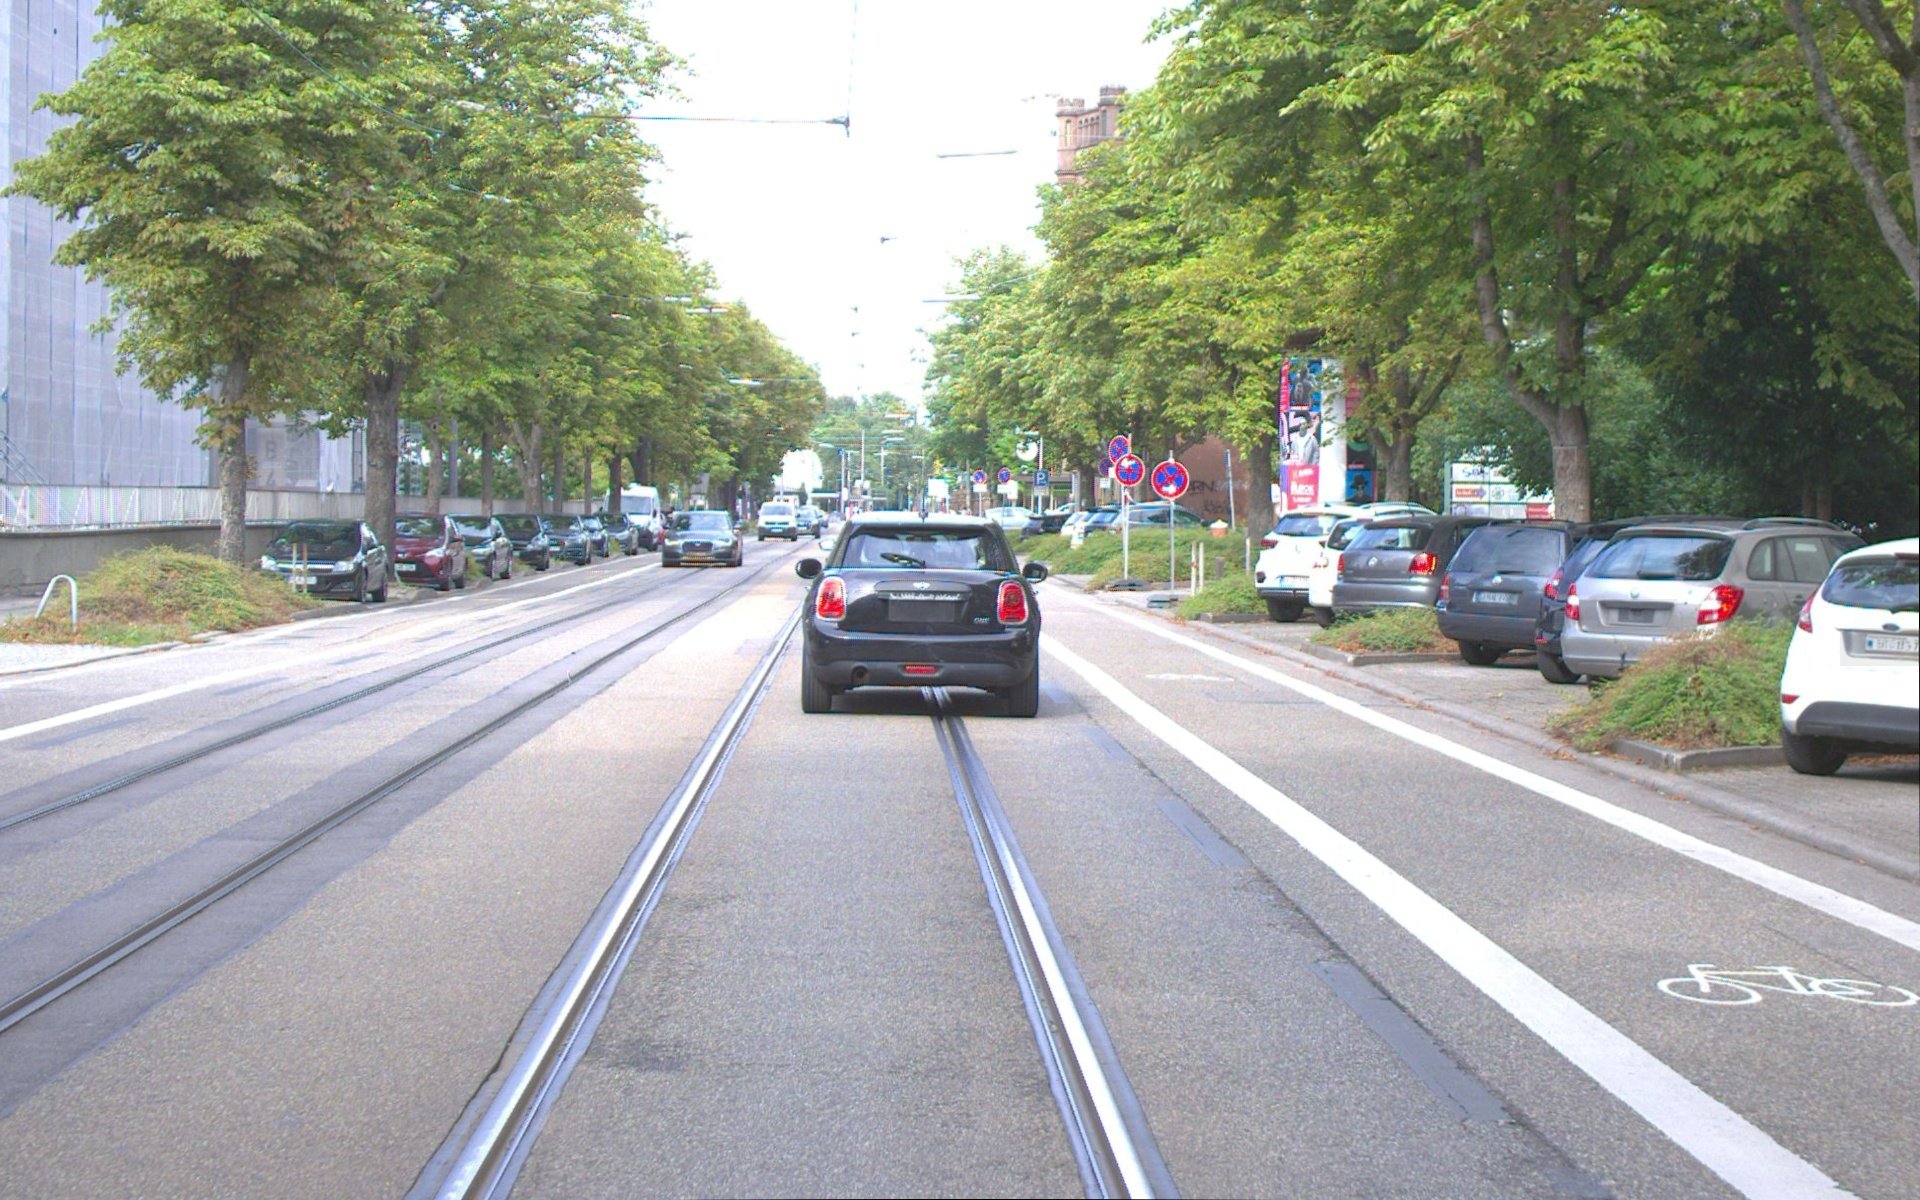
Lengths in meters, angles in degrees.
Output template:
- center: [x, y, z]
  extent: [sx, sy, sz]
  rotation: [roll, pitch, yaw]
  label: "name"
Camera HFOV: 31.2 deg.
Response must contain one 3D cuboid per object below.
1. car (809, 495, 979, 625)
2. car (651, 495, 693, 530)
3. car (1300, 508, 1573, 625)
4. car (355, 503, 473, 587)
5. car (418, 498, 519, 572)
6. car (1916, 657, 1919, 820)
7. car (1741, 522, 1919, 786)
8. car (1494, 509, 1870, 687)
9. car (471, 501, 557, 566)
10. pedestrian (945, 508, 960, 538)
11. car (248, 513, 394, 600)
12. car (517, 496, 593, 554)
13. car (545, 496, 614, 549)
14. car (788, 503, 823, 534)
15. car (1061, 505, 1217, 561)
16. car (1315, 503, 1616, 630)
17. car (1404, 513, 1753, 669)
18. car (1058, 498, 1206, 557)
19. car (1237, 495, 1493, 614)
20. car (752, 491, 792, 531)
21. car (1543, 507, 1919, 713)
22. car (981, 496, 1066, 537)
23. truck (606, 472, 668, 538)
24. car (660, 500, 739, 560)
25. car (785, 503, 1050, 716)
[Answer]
- center: [-0.865, -0.534, 42.626]
  extent: [1.793, 1.465, 4.001]
  rotation: [2, 2, -5]
  label: "car"
- center: [-13.556, -4.124, 161.913]
  extent: [1.802, 1.578, 4.032]
  rotation: [0, 1, -2]
  label: "car"
- center: [6.146, -0.440, 44.226]
  extent: [3.437, 1.437, 1.560]
  rotation: [0, 2, -40]
  label: "car"
- center: [-10.669, -1.105, 67.414]
  extent: [1.802, 1.578, 4.032]
  rotation: [0, 1, -2]
  label: "car"
- center: [-10.865, -1.459, 76.278]
  extent: [1.802, 1.578, 4.032]
  rotation: [0, 1, -2]
  label: "car"
- center: [6.687, 0.389, 18.057]
  extent: [1.676, 1.455, 3.819]
  rotation: [2, 2, 42]
  label: "car"
- center: [6.424, 0.294, 20.816]
  extent: [1.639, 1.455, 3.819]
  rotation: [2, 2, 42]
  label: "car"
- center: [6.685, -0.038, 31.623]
  extent: [1.639, 1.517, 3.730]
  rotation: [2, 2, 44]
  label: "car"
- center: [-11.249, -1.695, 86.934]
  extent: [1.802, 1.578, 4.032]
  rotation: [0, 1, -2]
  label: "car"
- center: [-0.419, -4.301, 191.712]
  extent: [0.726, 1.640, 0.766]
  rotation: [2, 2, 9]
  label: "pedestrian"
- center: [-10.549, -0.749, 56.987]
  extent: [1.802, 1.369, 4.032]
  rotation: [0, 2, -2]
  label: "car"
- center: [-11.403, -2.130, 97.010]
  extent: [1.802, 1.578, 4.032]
  rotation: [0, 1, -2]
  label: "car"
- center: [-11.676, -2.400, 105.681]
  extent: [1.802, 1.578, 4.032]
  rotation: [0, 1, -2]
  label: "car"
- center: [-8.180, -4.321, 181.823]
  extent: [1.802, 1.616, 4.485]
  rotation: [0, 2, -2]
  label: "car"
- center: [4.818, -1.817, 92.942]
  extent: [3.986, 1.420, 1.885]
  rotation: [1, 2, -4]
  label: "car"
- center: [6.082, -0.415, 41.193]
  extent: [3.525, 1.437, 1.623]
  rotation: [0, 2, -40]
  label: "car"
- center: [6.239, -0.106, 34.459]
  extent: [1.639, 1.453, 3.730]
  rotation: [2, 2, 44]
  label: "car"
- center: [4.901, -2.083, 98.345]
  extent: [3.986, 1.622, 1.885]
  rotation: [1, 2, -4]
  label: "car"
- center: [5.594, -0.633, 47.339]
  extent: [3.437, 1.567, 1.560]
  rotation: [0, 2, -40]
  label: "car"
- center: [-8.864, -4.195, 162.236]
  extent: [1.802, 1.817, 4.485]
  rotation: [0, 1, -2]
  label: "car"
- center: [6.436, 0.052, 27.587]
  extent: [1.639, 1.517, 3.730]
  rotation: [2, 2, 44]
  label: "car"
- center: [3.154, -4.134, 170.122]
  extent: [3.986, 1.904, 2.000]
  rotation: [1, 2, -4]
  label: "car"
- center: [-12.252, -3.601, 130.671]
  extent: [2.070, 2.462, 4.900]
  rotation: [0, 1, -2]
  label: "truck"
- center: [-6.626, -1.806, 87.730]
  extent: [1.834, 1.443, 4.554]
  rotation: [1, 2, -2]
  label: "car"
- center: [-0.367, 0.009, 25.637]
  extent: [1.793, 1.418, 4.001]
  rotation: [1, 2, -2]
  label: "car"
